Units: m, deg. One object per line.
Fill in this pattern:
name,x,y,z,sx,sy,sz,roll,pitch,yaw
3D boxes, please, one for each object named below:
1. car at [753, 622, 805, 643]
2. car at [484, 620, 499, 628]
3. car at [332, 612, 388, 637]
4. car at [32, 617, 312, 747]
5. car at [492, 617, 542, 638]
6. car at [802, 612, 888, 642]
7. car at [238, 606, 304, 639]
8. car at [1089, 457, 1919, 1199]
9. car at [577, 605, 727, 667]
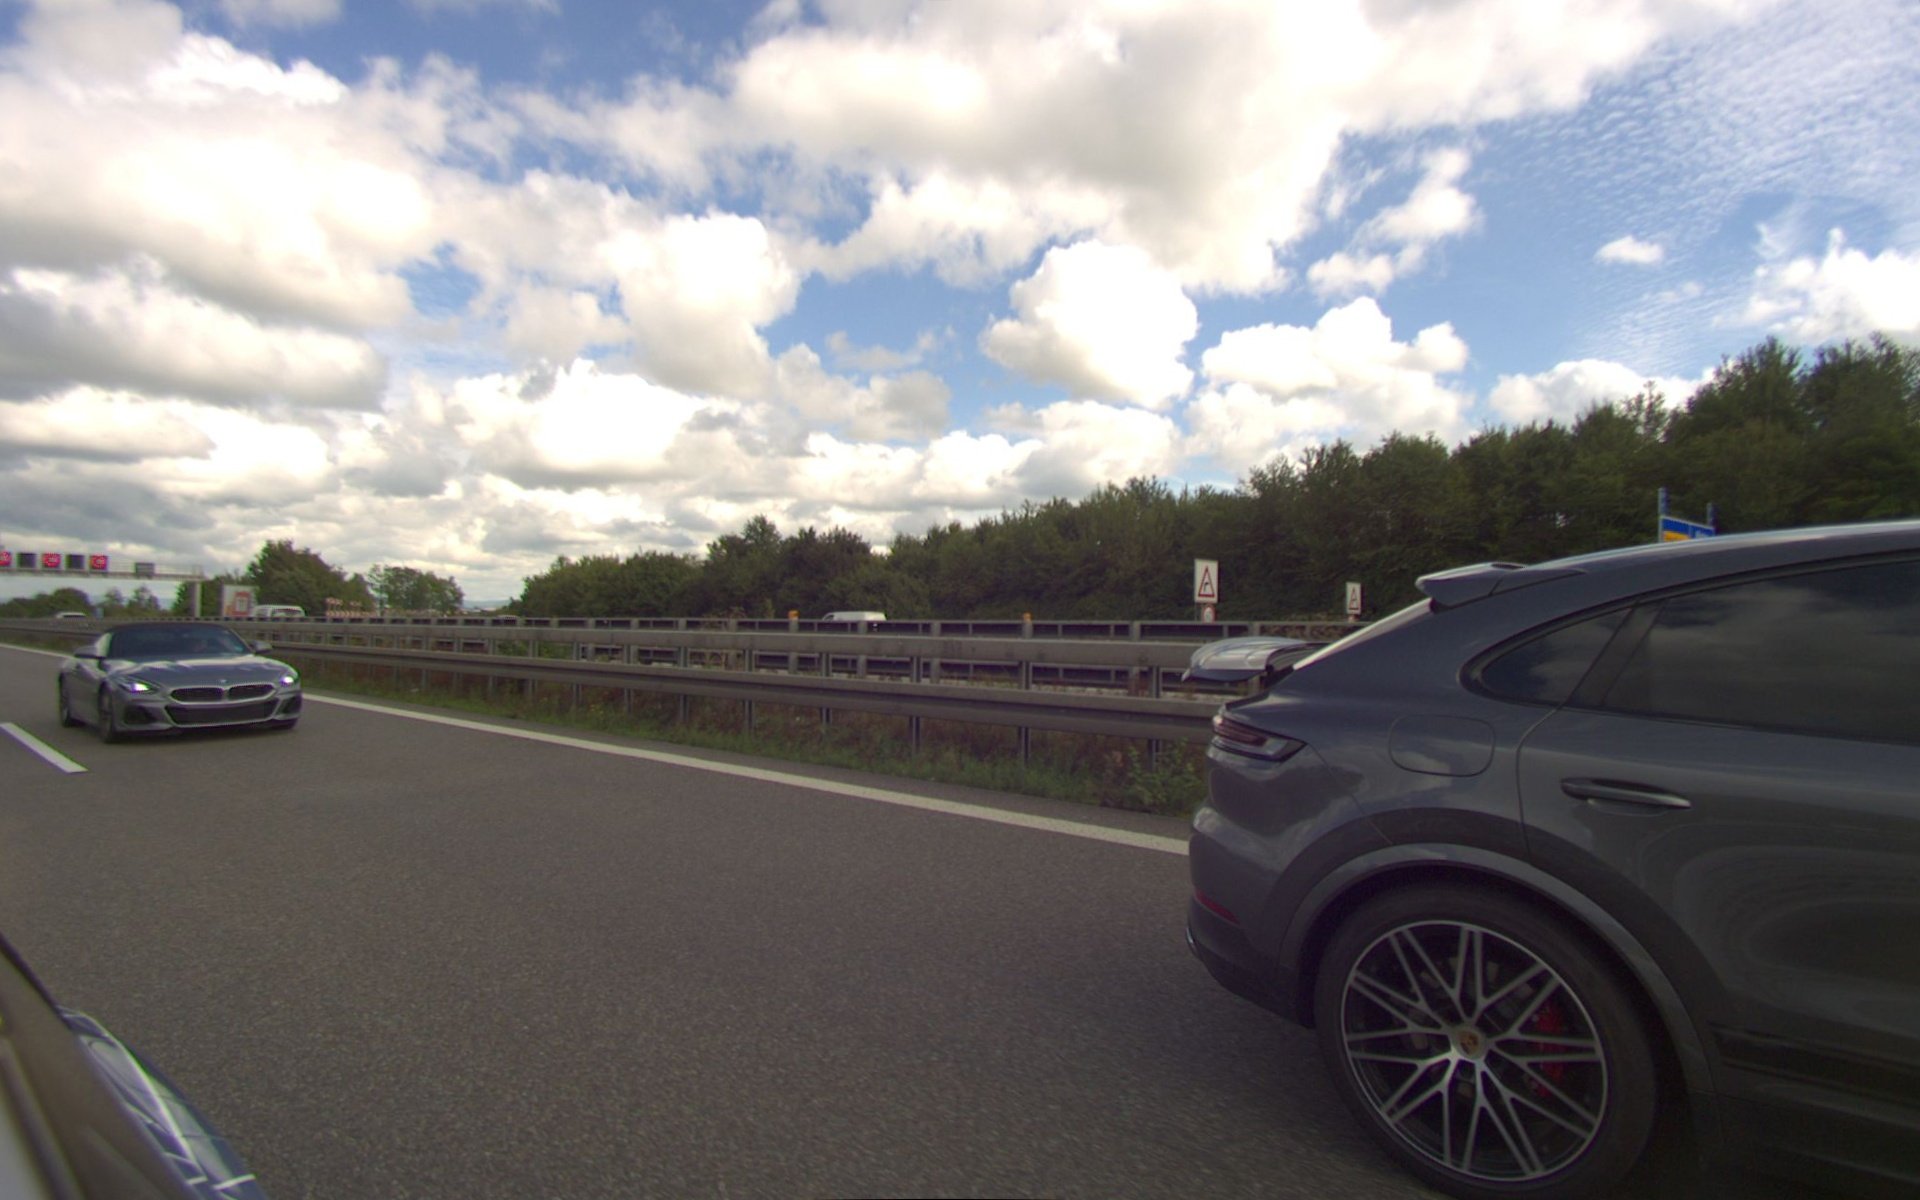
car,-11.942,2.123,66.703,3.648,1.356,1.524,-1,-2,45
car,-75.885,3.873,163.810,1.521,1.356,3.836,0,-1,-14
car,-33.333,1.354,56.175,3.823,1.356,1.526,-1,-2,41
car,-9.996,0.878,12.680,4.939,1.312,1.854,-1,-1,41
car,-35.608,2.167,81.254,5.007,1.648,1.791,-1,-1,43
car,-6.278,1.447,55.011,5.008,1.589,1.752,-1,-1,41
car,-36.200,1.168,53.146,5.008,1.648,1.791,-1,-1,43
car,3.084,0.550,2.030,5.497,1.648,1.892,-1,-1,41
car,-9.016,0.988,29.353,5.005,1.648,1.792,-1,-1,41
